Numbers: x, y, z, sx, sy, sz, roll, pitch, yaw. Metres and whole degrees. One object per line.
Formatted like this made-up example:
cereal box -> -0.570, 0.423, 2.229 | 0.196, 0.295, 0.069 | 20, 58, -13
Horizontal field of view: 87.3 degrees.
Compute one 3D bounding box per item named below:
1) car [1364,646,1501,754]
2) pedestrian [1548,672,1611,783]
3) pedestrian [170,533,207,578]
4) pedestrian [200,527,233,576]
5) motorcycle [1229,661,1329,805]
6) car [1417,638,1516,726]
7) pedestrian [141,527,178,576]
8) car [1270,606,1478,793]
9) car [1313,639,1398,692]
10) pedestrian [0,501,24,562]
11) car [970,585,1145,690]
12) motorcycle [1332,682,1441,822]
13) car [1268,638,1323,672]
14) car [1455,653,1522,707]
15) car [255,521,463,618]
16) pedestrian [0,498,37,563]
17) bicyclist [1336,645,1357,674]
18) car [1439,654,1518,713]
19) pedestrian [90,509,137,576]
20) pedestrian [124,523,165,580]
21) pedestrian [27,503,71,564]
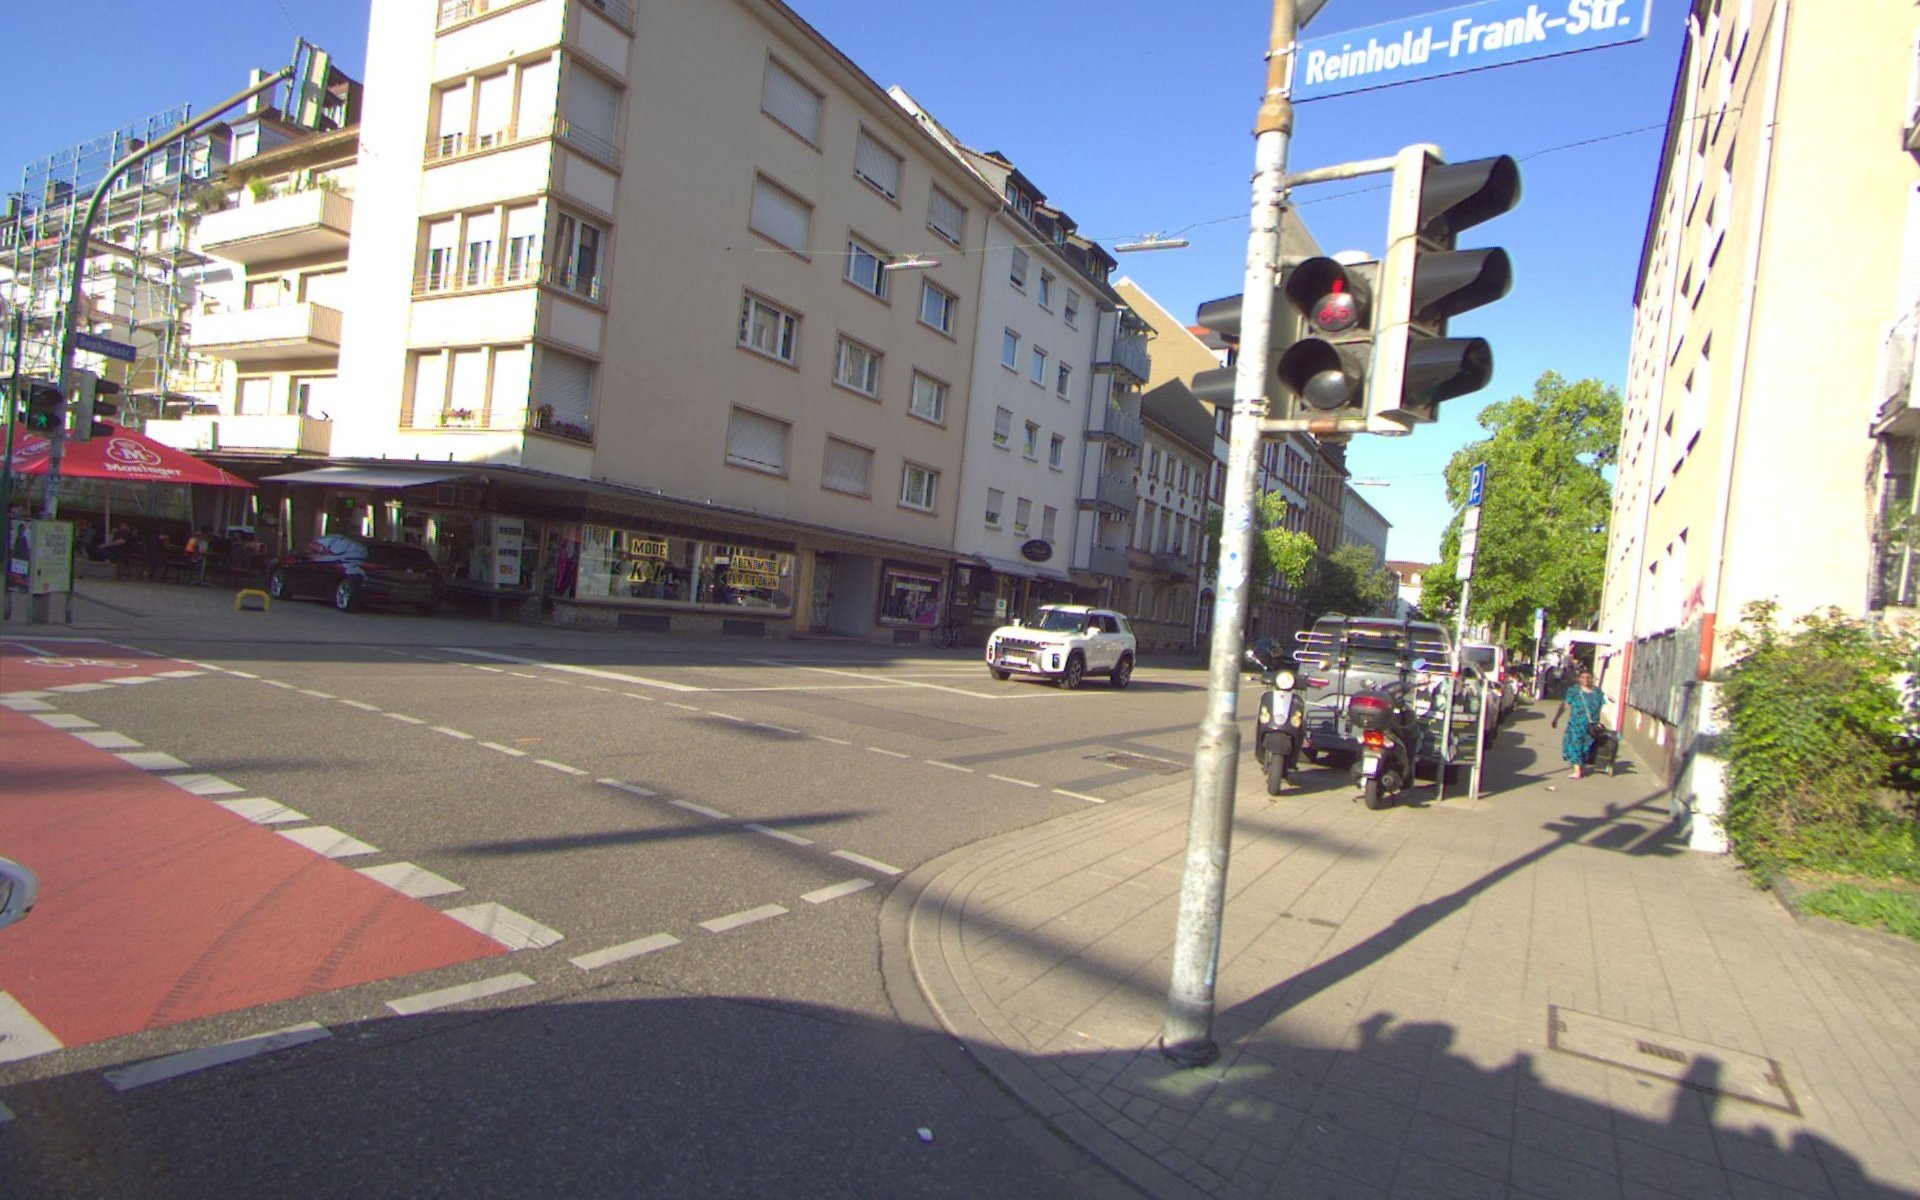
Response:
car -> 8.873, 1.760, 18.664 | 1.920, 1.560, 4.615 | 5, -1, 29
pedestrian -> 8.470, 1.722, 13.776 | 0.584, 1.408, 0.640 | 6, 0, 31
pedestrian -> -18.346, -1.052, 23.924 | 0.407, 1.003, 0.524 | 6, 0, 37
pedestrian -> -19.417, -1.261, 26.269 | 0.407, 1.203, 0.524 | 5, -1, 37
motorcycle -> 3.252, 1.275, 10.216 | 0.760, 1.215, 1.992 | 6, -1, 19
car -> 13.684, 2.154, 27.010 | 1.920, 1.930, 5.068 | 6, 0, 30
pedestrian -> -18.692, -1.129, 23.490 | 0.407, 1.062, 0.524 | 6, 0, 37
car -> 5.723, 1.227, 13.491 | 1.920, 1.889, 4.836 | 5, -1, 29
car -> 15.081, 2.496, 38.231 | 1.922, 1.681, 4.342 | 6, 0, 34
pedestrian -> -18.937, -1.371, 19.874 | 0.517, 1.164, 0.493 | 6, 0, 35
car -> 2.209, 0.849, 21.651 | 1.920, 1.861, 4.346 | 6, 0, 31
motorcycle -> 4.037, 1.373, 9.450 | 0.584, 1.125, 1.696 | 6, 0, 32
car -> 19.491, 3.211, 58.282 | 1.921, 1.681, 4.345 | 6, 0, 32
car -> 19.907, 2.960, 37.790 | 1.920, 1.681, 4.346 | 6, 0, 30
car -> -12.179, -0.632, 20.322 | 4.134, 1.503, 1.830 | 6, 0, 32
pedestrian -> -18.162, -1.334, 19.343 | 0.622, 1.164, 0.412 | 6, 0, 36
bicyclist -> 21.764, 3.352, 56.653 | 0.733, 1.522, 0.879 | 7, 1, 36
car -> 16.453, 2.607, 31.823 | 1.920, 1.560, 4.284 | 5, -1, 30
pedestrian -> -17.507, -1.189, 20.815 | 0.531, 1.298, 0.524 | 6, 0, 34
pedestrian -> -17.868, -1.059, 22.045 | 0.407, 1.164, 0.524 | 6, 0, 37
pedestrian -> -18.559, -1.348, 20.503 | 0.517, 1.164, 0.486 | 6, 0, 35
